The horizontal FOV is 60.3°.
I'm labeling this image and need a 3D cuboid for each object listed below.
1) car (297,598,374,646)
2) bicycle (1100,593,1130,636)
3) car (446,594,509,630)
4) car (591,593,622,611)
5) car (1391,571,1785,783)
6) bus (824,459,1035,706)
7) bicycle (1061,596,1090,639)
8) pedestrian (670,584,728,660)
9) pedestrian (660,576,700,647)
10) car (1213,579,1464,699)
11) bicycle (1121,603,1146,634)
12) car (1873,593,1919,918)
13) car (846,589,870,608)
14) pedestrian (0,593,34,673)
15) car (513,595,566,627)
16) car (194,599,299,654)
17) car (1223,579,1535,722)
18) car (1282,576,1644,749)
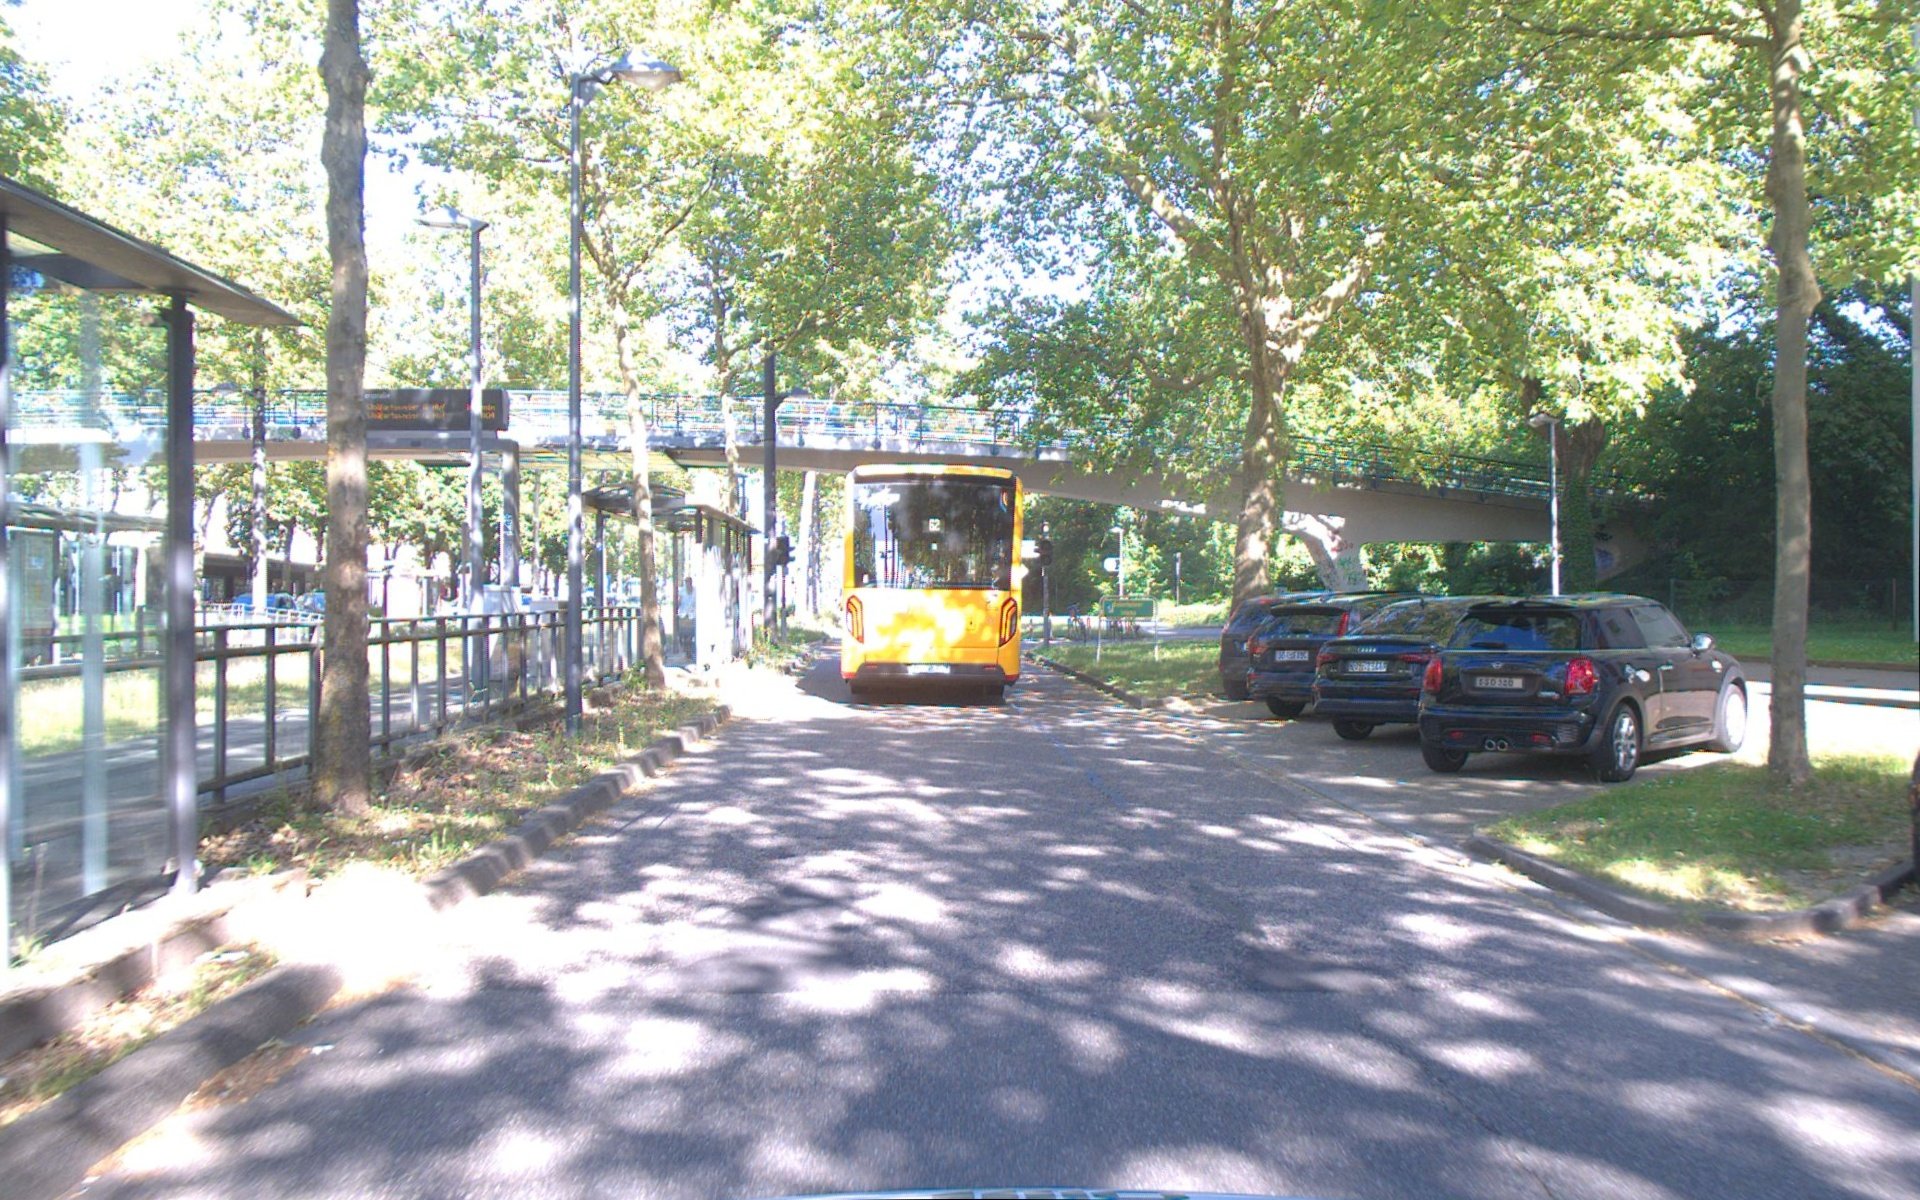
[{"bbox_3d":[-21.757,0.740,57.536,1.776,1.593,4.242,-1,0,-31],"label":"car"},{"bbox_3d":[4.614,0.422,49.342,0.578,1.203,1.799,-3,1,-3],"label":"bicycle"},{"bbox_3d":[-22.389,0.520,76.874,1.758,1.608,4.286,0,0,-2],"label":"car"},{"bbox_3d":[-30.646,0.166,143.454,1.757,1.537,4.000,0,0,1],"label":"car"},{"bbox_3d":[5.607,0.584,14.518,1.753,1.493,3.972,-2,0,45],"label":"car"},{"bbox_3d":[-0.729,-0.265,28.423,2.842,3.324,12.210,0,0,-3],"label":"bus"},{"bbox_3d":[3.446,0.499,49.372,0.578,1.203,1.799,-3,1,-3],"label":"bicycle"},{"bbox_3d":[-4.417,0.368,28.025,0.837,1.264,0.850,1,0,-1],"label":"pedestrian"},{"bbox_3d":[-5.723,0.235,33.835,0.710,1.442,0.681,1,0,-3],"label":"pedestrian"},{"bbox_3d":[5.542,0.523,23.931,1.769,1.487,3.975,-3,0,43],"label":"car"},{"bbox_3d":[5.189,0.549,49.489,0.495,0.867,1.473,-3,1,-3],"label":"bicycle"},{"bbox_3d":[6.176,0.616,8.320,1.770,1.441,3.897,-2,0,44],"label":"car"},{"bbox_3d":[-9.587,-0.152,155.753,1.946,1.672,4.133,2,1,-1],"label":"car"},{"bbox_3d":[-15.354,0.517,26.391,0.762,1.259,0.721,0,0,-4],"label":"pedestrian"},{"bbox_3d":[-20.950,0.520,82.573,1.759,1.537,4.671,0,0,-4],"label":"car"},{"bbox_3d":[-22.157,0.789,51.506,1.759,1.593,4.282,0,0,-6],"label":"car"},{"bbox_3d":[5.340,0.579,20.804,4.222,1.487,1.772,-3,0,-43],"label":"car"},{"bbox_3d":[5.430,0.588,17.578,4.222,1.487,1.772,-3,0,-43],"label":"car"}]
